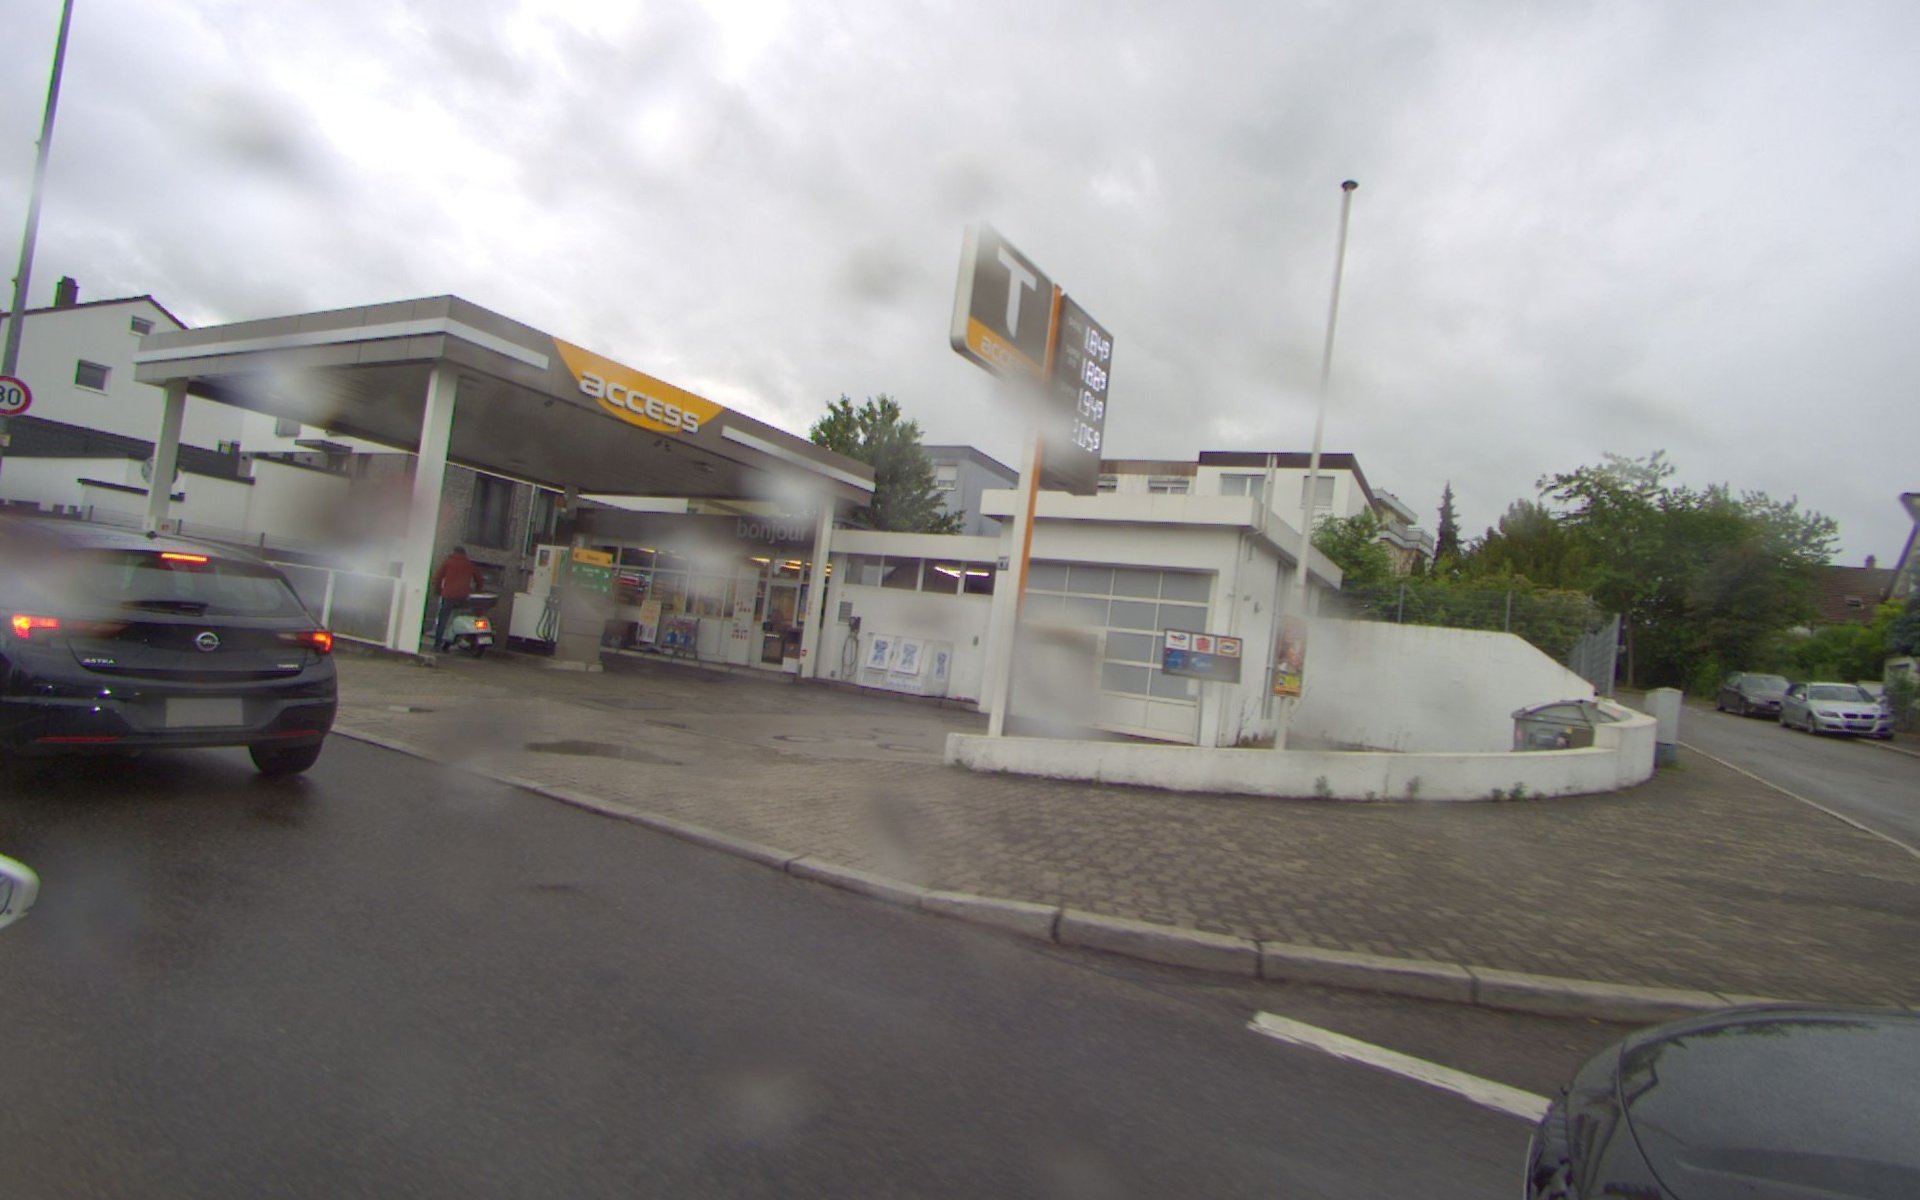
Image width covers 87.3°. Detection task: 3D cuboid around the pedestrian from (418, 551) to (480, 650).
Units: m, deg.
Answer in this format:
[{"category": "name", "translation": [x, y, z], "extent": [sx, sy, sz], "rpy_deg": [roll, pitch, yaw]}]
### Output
[{"category": "pedestrian", "translation": [-9.127, 0.021, 17.982], "extent": [0.576, 1.674, 0.611], "rpy_deg": [5, -2, 32]}]

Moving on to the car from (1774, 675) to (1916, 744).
[{"category": "car", "translation": [24.562, 2.972, 28.095], "extent": [1.966, 1.493, 3.993], "rpy_deg": [4, 0, 27]}]

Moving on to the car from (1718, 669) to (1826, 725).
[{"category": "car", "translation": [27.080, 3.189, 33.698], "extent": [1.966, 1.493, 3.993], "rpy_deg": [4, 0, 27]}]

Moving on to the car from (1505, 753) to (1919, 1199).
[{"category": "car", "translation": [3.080, 1.199, 0.764], "extent": [4.660, 1.440, 1.871], "rpy_deg": [5, -3, 31]}]

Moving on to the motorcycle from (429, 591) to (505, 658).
[{"category": "motorcycle", "translation": [-8.839, 0.434, 18.022], "extent": [1.368, 1.067, 0.463], "rpy_deg": [5, -2, 32]}]

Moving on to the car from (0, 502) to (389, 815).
[{"category": "car", "translation": [-5.746, 0.206, 6.442], "extent": [3.932, 1.466, 1.761], "rpy_deg": [6, -3, 30]}]
